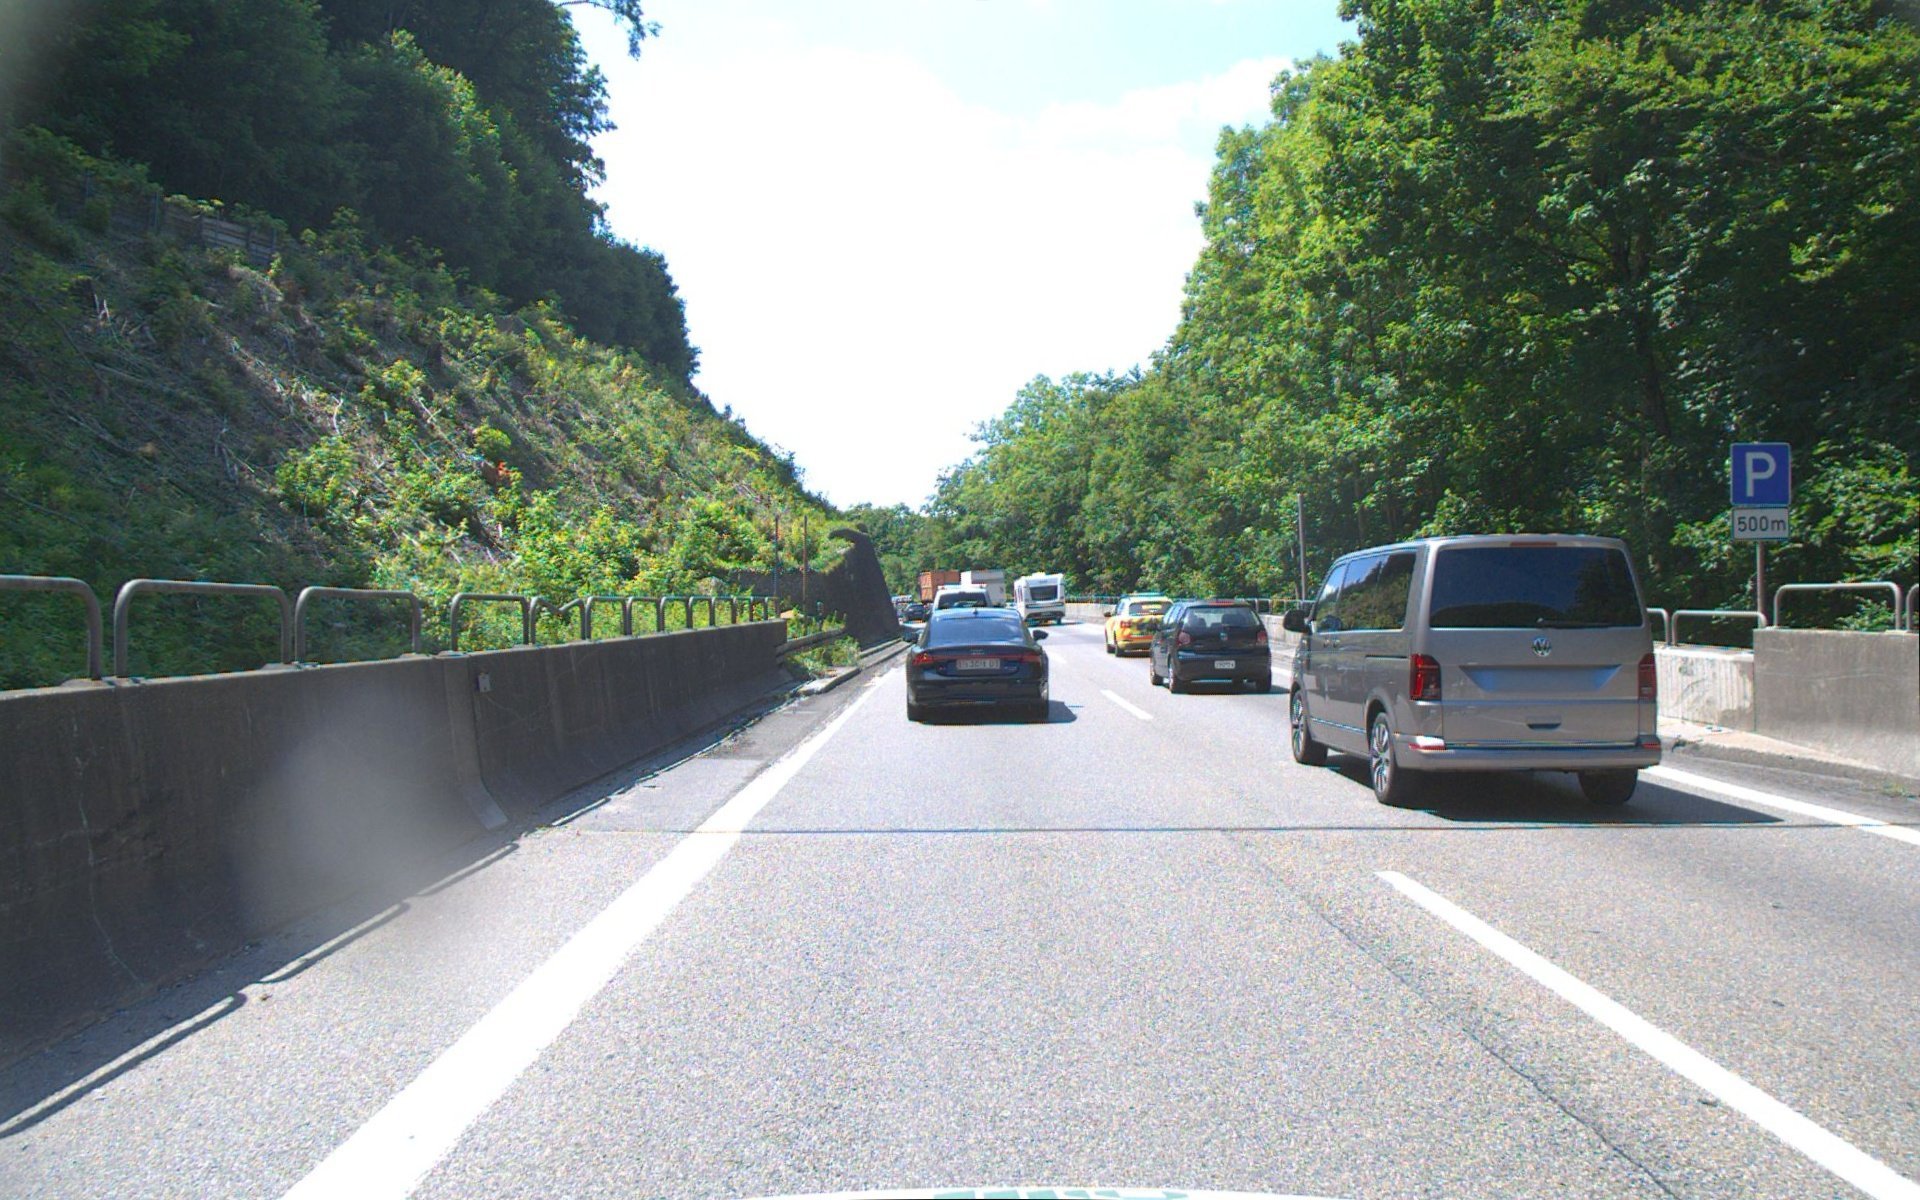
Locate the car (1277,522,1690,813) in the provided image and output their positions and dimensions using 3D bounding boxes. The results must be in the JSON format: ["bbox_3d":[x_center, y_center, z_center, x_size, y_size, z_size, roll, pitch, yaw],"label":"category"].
[{"bbox_3d":[4.036,0.464,13.656,1.901,1.965,4.694,1,0,0],"label":"car"}]

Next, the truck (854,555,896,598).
[{"bbox_3d":[-9.630,-2.582,186.177,3.643,4.583,7.704,1,0,-10],"label":"truck"}]

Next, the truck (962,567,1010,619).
[{"bbox_3d":[1.893,-0.524,124.036,2.867,3.752,7.718,1,0,-4],"label":"truck"}]

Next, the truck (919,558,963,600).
[{"bbox_3d":[-1.706,-1.803,145.824,3.102,3.529,8.212,1,0,-6],"label":"truck"}]

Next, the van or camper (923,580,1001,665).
[{"bbox_3d":[0.079,0.531,41.127,1.815,1.976,4.165,1,0,1],"label":"van or camper"}]

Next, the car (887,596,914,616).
[{"bbox_3d":[-4.959,0.471,137.031,1.719,1.598,3.762,1,0,-10],"label":"car"}]

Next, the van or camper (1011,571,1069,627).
[{"bbox_3d":[4.243,-0.048,88.970,2.551,2.905,6.332,1,0,-2],"label":"van or camper"}]

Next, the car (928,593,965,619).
[{"bbox_3d":[-0.919,0.356,107.452,1.956,1.646,3.993,0,0,-7],"label":"car"}]

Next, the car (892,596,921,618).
[{"bbox_3d":[-4.015,0.496,124.054,1.719,1.598,3.763,1,0,-9],"label":"car"}]

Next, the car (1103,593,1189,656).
[{"bbox_3d":[4.698,0.596,42.277,1.771,1.503,4.082,1,0,0],"label":"car"}]

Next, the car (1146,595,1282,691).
[{"bbox_3d":[4.147,0.669,27.516,1.650,1.484,4.000,0,0,0],"label":"car"}]

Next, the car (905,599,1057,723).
[{"bbox_3d":[0.185,0.762,22.666,1.866,1.515,4.377,1,0,-2],"label":"car"}]
